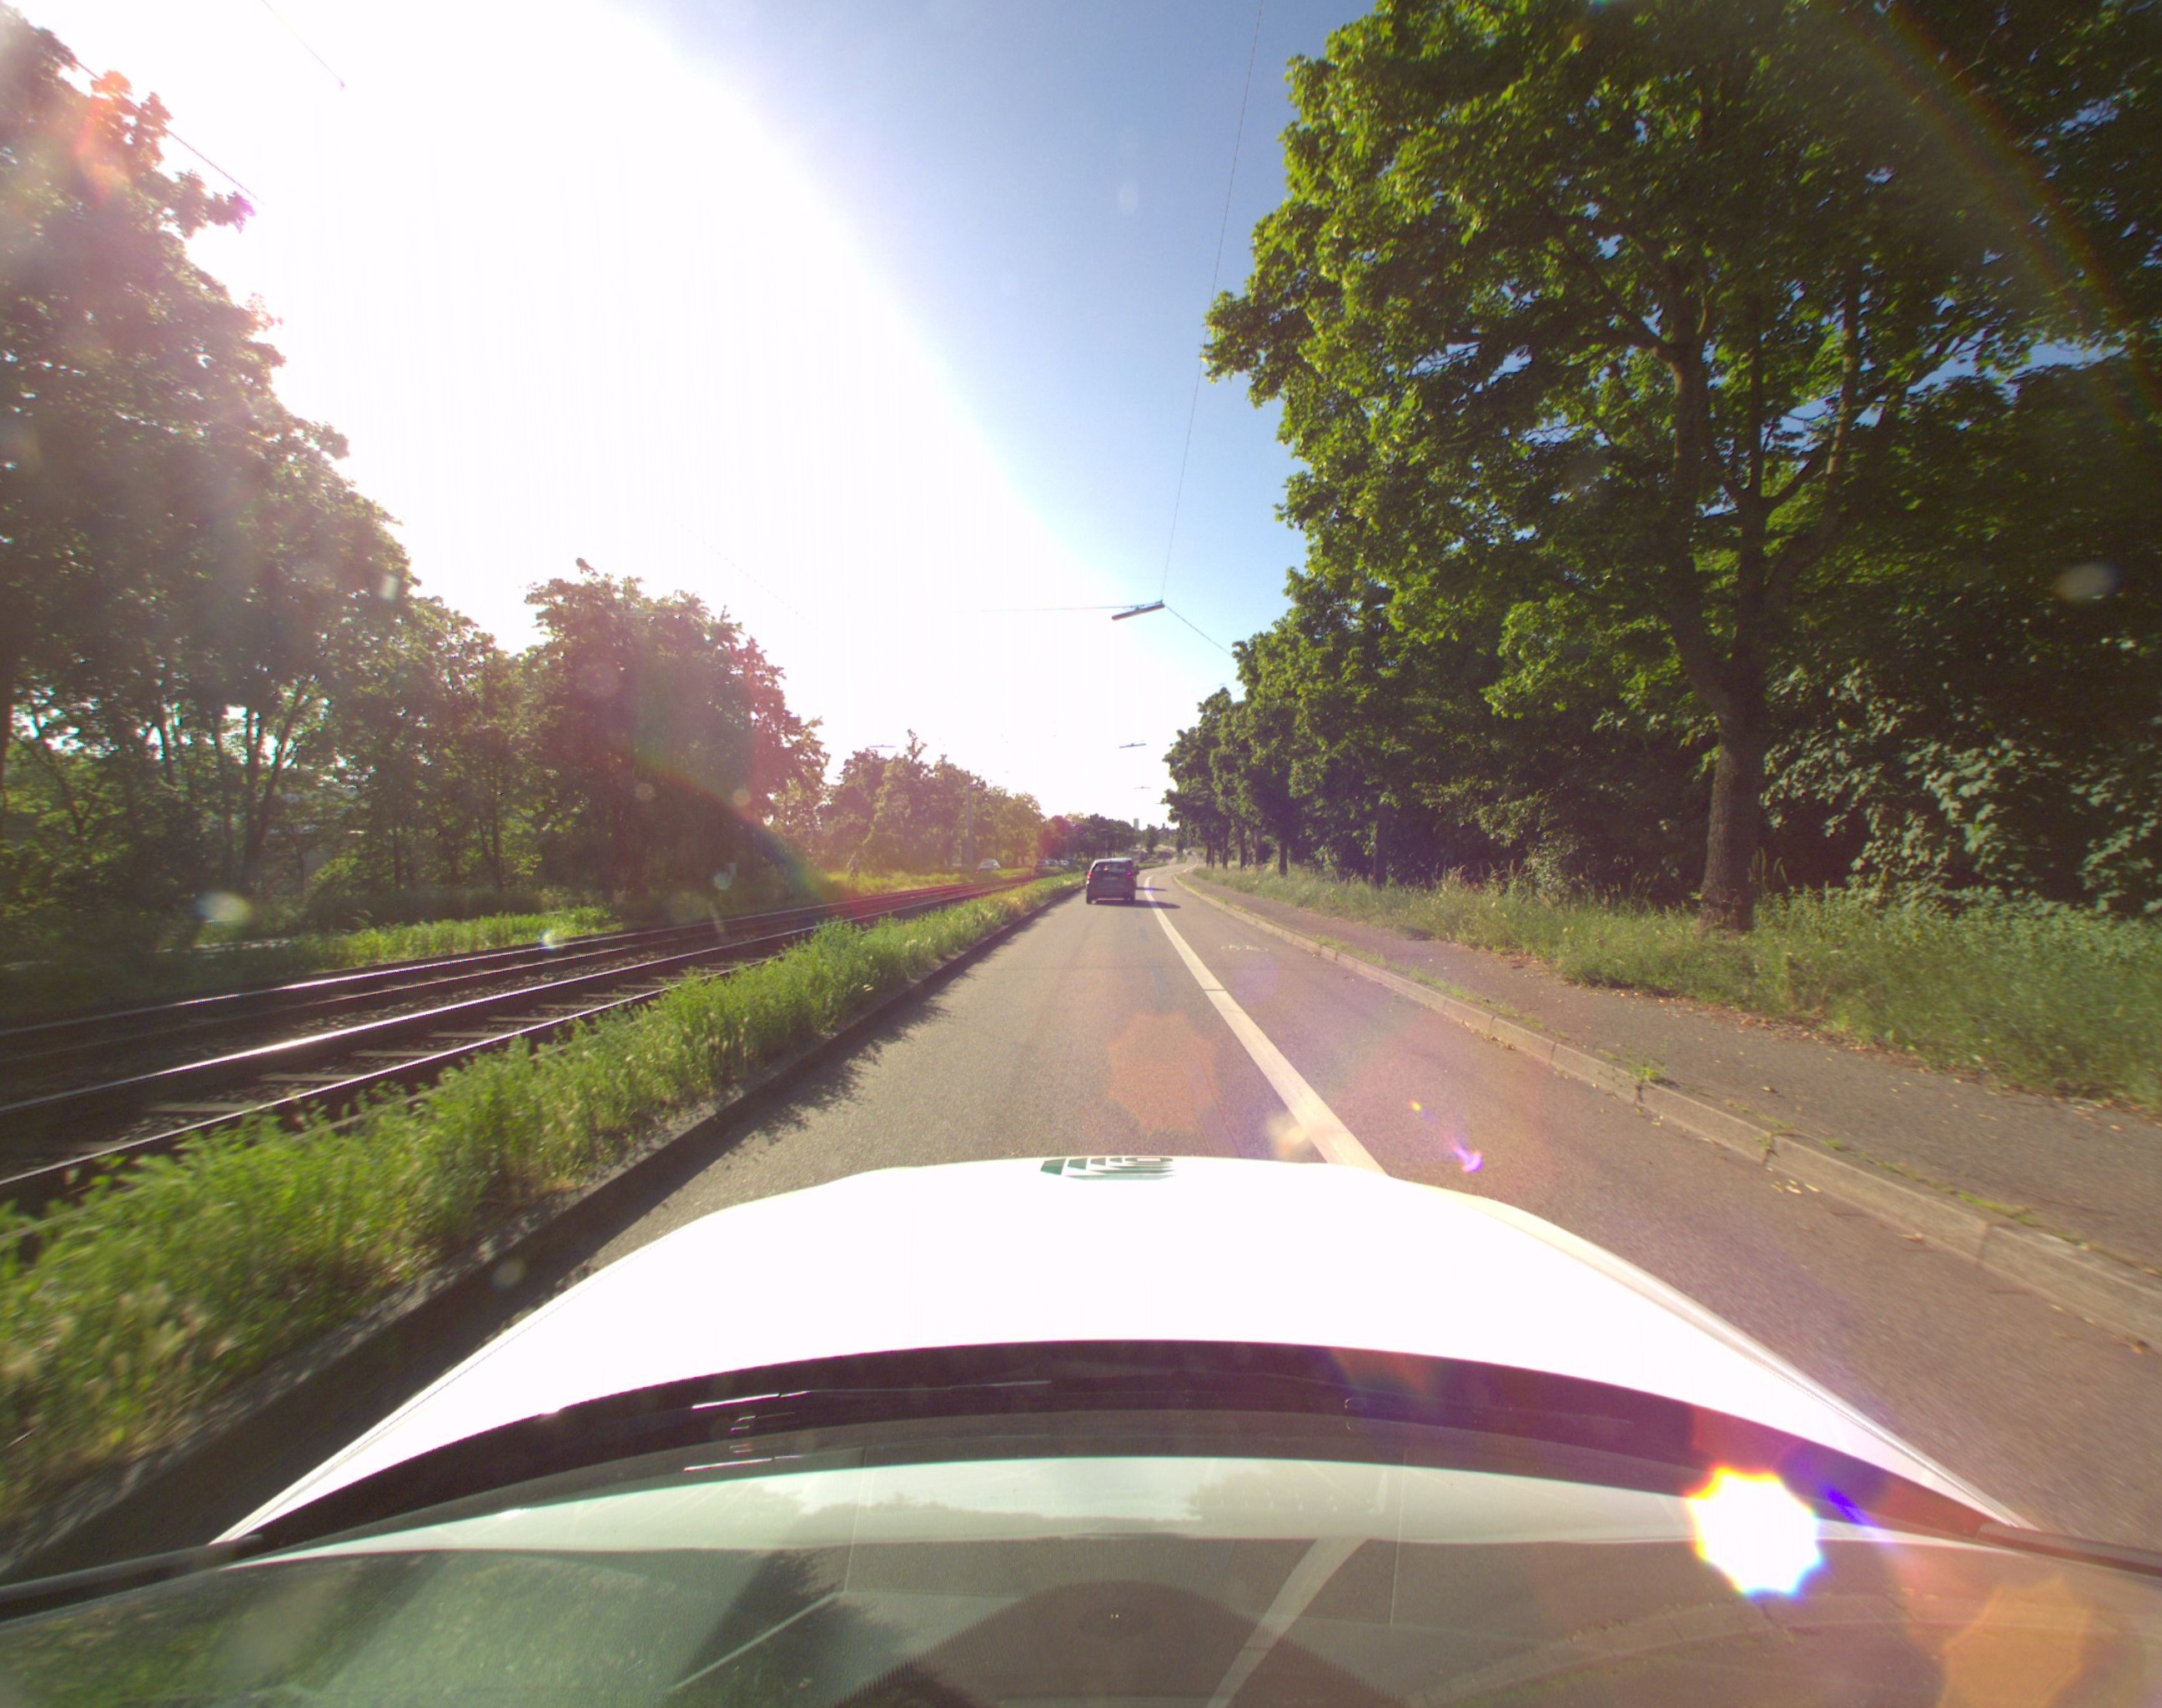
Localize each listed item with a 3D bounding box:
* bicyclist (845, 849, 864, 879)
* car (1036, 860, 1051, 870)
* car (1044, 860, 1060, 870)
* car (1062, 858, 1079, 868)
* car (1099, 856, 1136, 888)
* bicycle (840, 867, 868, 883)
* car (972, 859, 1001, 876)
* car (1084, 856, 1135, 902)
[{"bbox_3d":[-13.596,0.600,48.818,0.815,1.736,0.903,0,-1,4],"label":"bicyclist"},{"bbox_3d":[-5.878,1.663,127.959,1.726,1.494,4.336,1,-1,7],"label":"car"},{"bbox_3d":[-4.809,1.818,134.687,1.982,1.574,4.445,0,0,8],"label":"car"},{"bbox_3d":[-1.951,1.613,152.833,2.182,1.891,4.806,0,0,11],"label":"car"},{"bbox_3d":[2.017,0.942,43.757,1.842,1.606,4.259,0,0,4],"label":"car"},{"bbox_3d":[-13.595,1.219,48.826,0.814,0.914,2.540,0,0,4],"label":"bicycle"},{"bbox_3d":[-8.576,1.186,74.138,1.702,1.479,4.007,0,0,6],"label":"car"},{"bbox_3d":[0.998,0.836,29.002,1.700,1.509,4.001,0,0,1],"label":"car"}]
